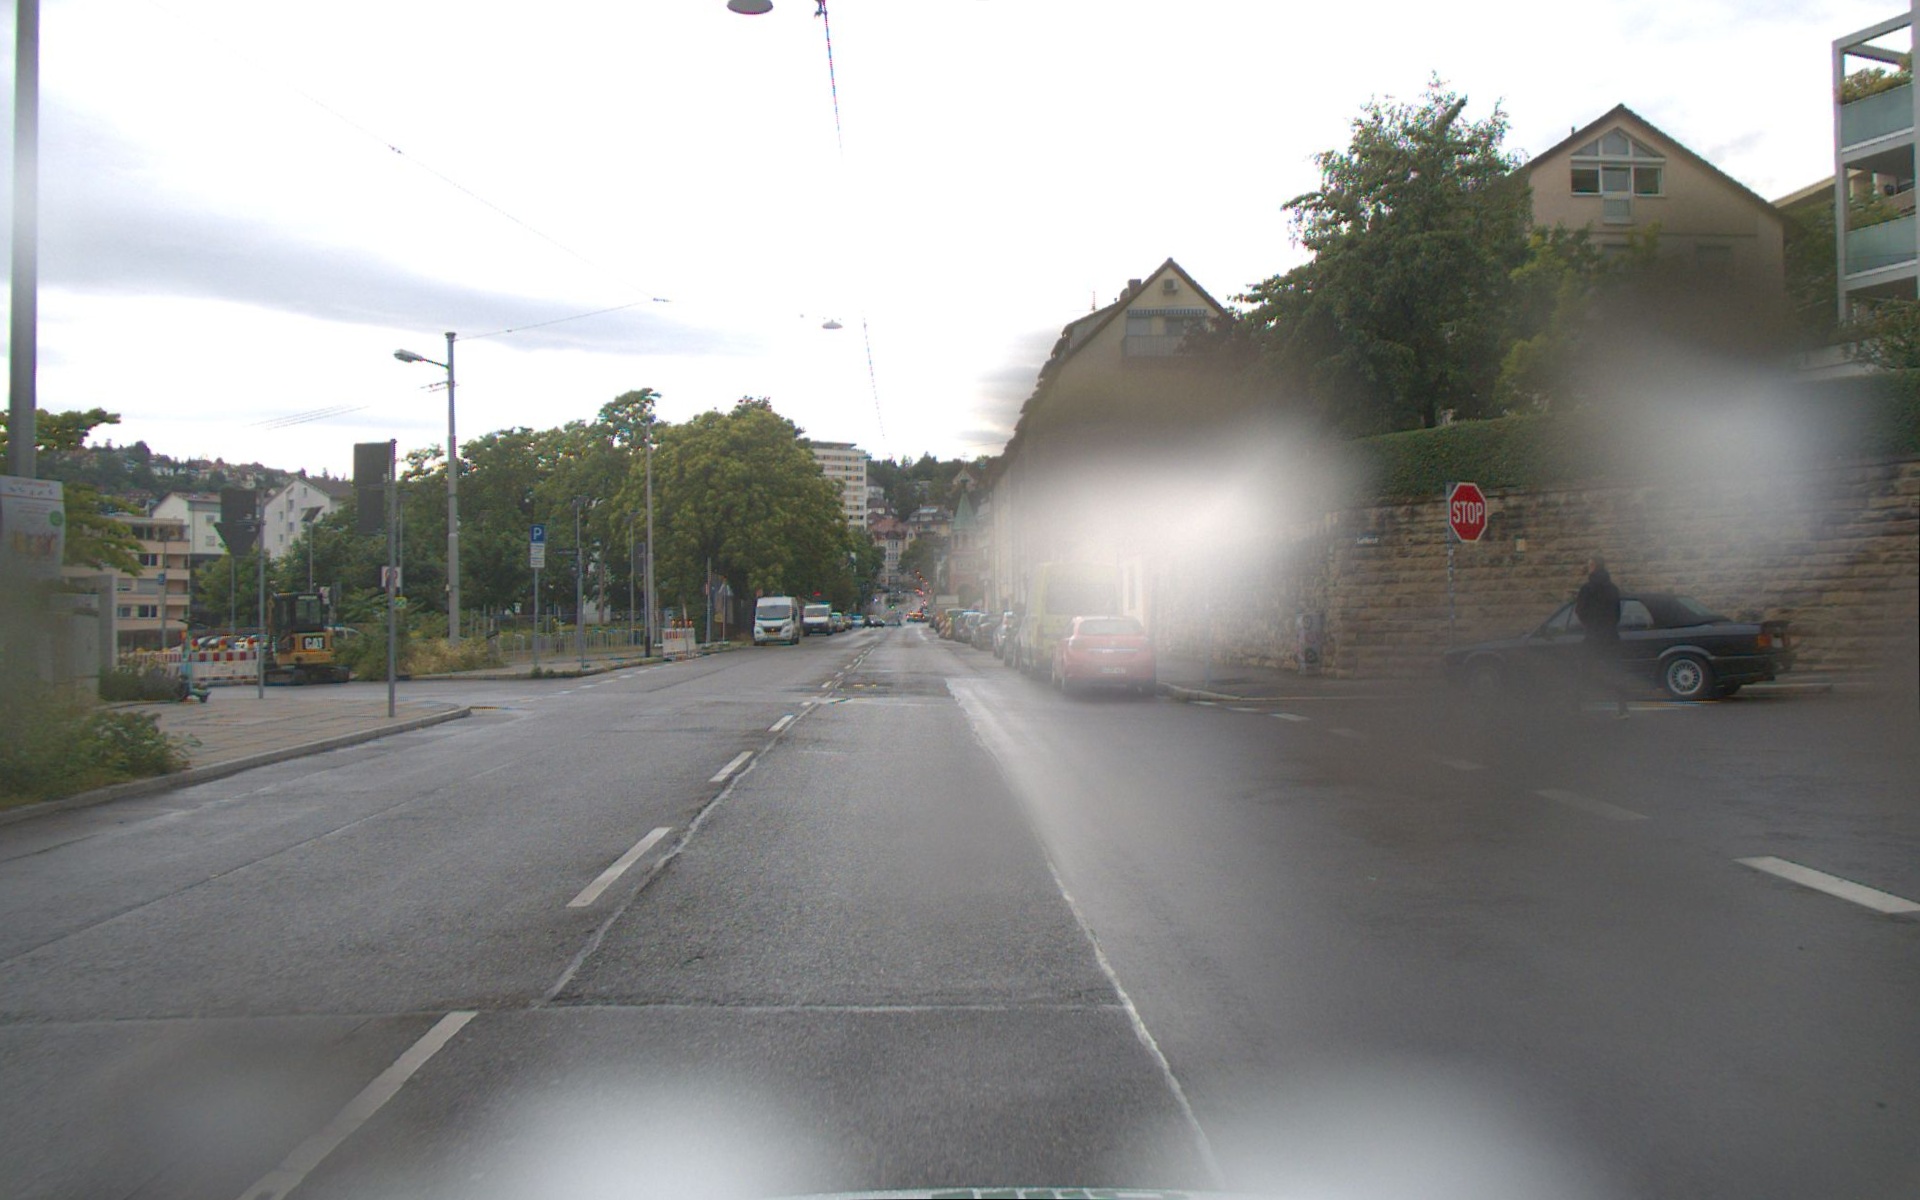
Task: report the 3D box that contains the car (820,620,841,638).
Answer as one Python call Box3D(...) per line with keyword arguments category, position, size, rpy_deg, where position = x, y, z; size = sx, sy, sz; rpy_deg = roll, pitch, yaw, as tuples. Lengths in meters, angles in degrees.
Box3D(category="car", position=(-11.078, 2.476, 141.237), size=(1.649, 1.423, 3.908), rpy_deg=(-2, -1, -3))

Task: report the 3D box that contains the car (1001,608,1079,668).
Box3D(category="car", position=(2.062, 0.956, 43.469), size=(1.654, 1.479, 4.233), rpy_deg=(1, 0, -2))

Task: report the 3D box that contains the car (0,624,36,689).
Box3D(category="car", position=(-39.736, 2.349, 66.401), size=(5.625, 2.455, 2.661), rpy_deg=(-3, 0, 39))

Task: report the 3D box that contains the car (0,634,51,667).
Box3D(category="car", position=(-51.879, 2.789, 88.955), size=(2.088, 1.654, 4.876), rpy_deg=(-5, -2, 42))

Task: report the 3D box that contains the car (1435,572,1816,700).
Box3D(category="car", position=(8.526, 0.499, 21.392), size=(4.199, 1.417, 1.743), rpy_deg=(-4, -3, 40))

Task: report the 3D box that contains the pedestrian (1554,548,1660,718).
Box3D(category="pedestrian", position=(6.904, 0.339, 17.683), size=(0.709, 1.745, 0.905), rpy_deg=(-2, 0, -1))

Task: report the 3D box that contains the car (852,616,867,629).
Box3D(category="car", position=(-11.909, 2.700, 196.908), size=(1.675, 1.476, 4.291), rpy_deg=(-1, -1, -3))

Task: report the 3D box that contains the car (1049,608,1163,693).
Box3D(category="car", position=(2.644, 0.882, 30.835), size=(1.686, 1.446, 4.202), rpy_deg=(1, 0, -1))

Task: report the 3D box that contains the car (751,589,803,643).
Box3D(category="car", position=(-9.534, 0.836, 86.663), size=(2.186, 2.624, 6.533), rpy_deg=(-2, 0, -3))

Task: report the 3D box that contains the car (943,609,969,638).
Box3D(category="car", position=(-0.301, 1.691, 119.856), size=(1.781, 1.958, 4.237), rpy_deg=(-1, -1, -1))

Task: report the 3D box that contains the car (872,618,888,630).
Box3D(category="car", position=(-9.840, 2.943, 202.951), size=(1.769, 1.440, 4.379), rpy_deg=(-1, -1, -4))

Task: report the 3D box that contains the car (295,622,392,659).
Box3D(category="car", position=(-33.973, 2.229, 91.291), size=(1.962, 1.866, 4.669), rpy_deg=(-2, -1, 39))

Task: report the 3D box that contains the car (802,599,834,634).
Box3D(category="car", position=(-10.780, 1.268, 125.550), size=(1.971, 2.531, 5.981), rpy_deg=(-2, 0, -1))

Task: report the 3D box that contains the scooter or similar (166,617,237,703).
Box3D(category="scooter or similar", position=(-11.453, 0.901, 25.008), size=(0.486, 1.270, 1.231), rpy_deg=(1, -2, -1))

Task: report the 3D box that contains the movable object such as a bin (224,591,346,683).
Box3D(category="movable object such as a bin", position=(-19.363, 1.038, 47.310), size=(1.656, 2.502, 5.209), rpy_deg=(0, -1, -41))

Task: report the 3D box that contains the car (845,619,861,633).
Box3D(category="car", position=(-11.748, 2.891, 181.660), size=(1.767, 1.476, 4.654), rpy_deg=(-1, -1, -4))

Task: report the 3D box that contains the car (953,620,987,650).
Box3D(category="car", position=(0.523, 1.871, 90.277), size=(1.682, 1.551, 3.998), rpy_deg=(1, 0, -2))

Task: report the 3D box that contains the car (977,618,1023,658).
Box3D(category="car", position=(1.571, 1.502, 65.823), size=(1.596, 1.479, 3.757), rpy_deg=(1, 0, -2))

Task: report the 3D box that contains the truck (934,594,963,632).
Box3D(category="truck", position=(-1.012, 1.153, 146.022), size=(2.419, 3.228, 7.033), rpy_deg=(-1, -1, -1))

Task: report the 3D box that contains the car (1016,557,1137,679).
Box3D(category="car", position=(2.543, 0.390, 37.688), size=(2.161, 2.506, 6.077), rpy_deg=(1, 0, -2))

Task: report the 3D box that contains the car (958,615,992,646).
Box3D(category="car", position=(0.739, 1.546, 85.101), size=(1.527, 1.479, 3.757), rpy_deg=(1, 0, -2))

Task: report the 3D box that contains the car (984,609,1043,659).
Box3D(category="car", position=(1.750, 1.158, 55.255), size=(1.654, 1.479, 4.232), rpy_deg=(1, -3, -2))

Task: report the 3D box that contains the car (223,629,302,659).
Box3D(category="car", position=(-41.291, 2.582, 97.983), size=(1.766, 1.654, 3.980), rpy_deg=(-2, -1, 39))
